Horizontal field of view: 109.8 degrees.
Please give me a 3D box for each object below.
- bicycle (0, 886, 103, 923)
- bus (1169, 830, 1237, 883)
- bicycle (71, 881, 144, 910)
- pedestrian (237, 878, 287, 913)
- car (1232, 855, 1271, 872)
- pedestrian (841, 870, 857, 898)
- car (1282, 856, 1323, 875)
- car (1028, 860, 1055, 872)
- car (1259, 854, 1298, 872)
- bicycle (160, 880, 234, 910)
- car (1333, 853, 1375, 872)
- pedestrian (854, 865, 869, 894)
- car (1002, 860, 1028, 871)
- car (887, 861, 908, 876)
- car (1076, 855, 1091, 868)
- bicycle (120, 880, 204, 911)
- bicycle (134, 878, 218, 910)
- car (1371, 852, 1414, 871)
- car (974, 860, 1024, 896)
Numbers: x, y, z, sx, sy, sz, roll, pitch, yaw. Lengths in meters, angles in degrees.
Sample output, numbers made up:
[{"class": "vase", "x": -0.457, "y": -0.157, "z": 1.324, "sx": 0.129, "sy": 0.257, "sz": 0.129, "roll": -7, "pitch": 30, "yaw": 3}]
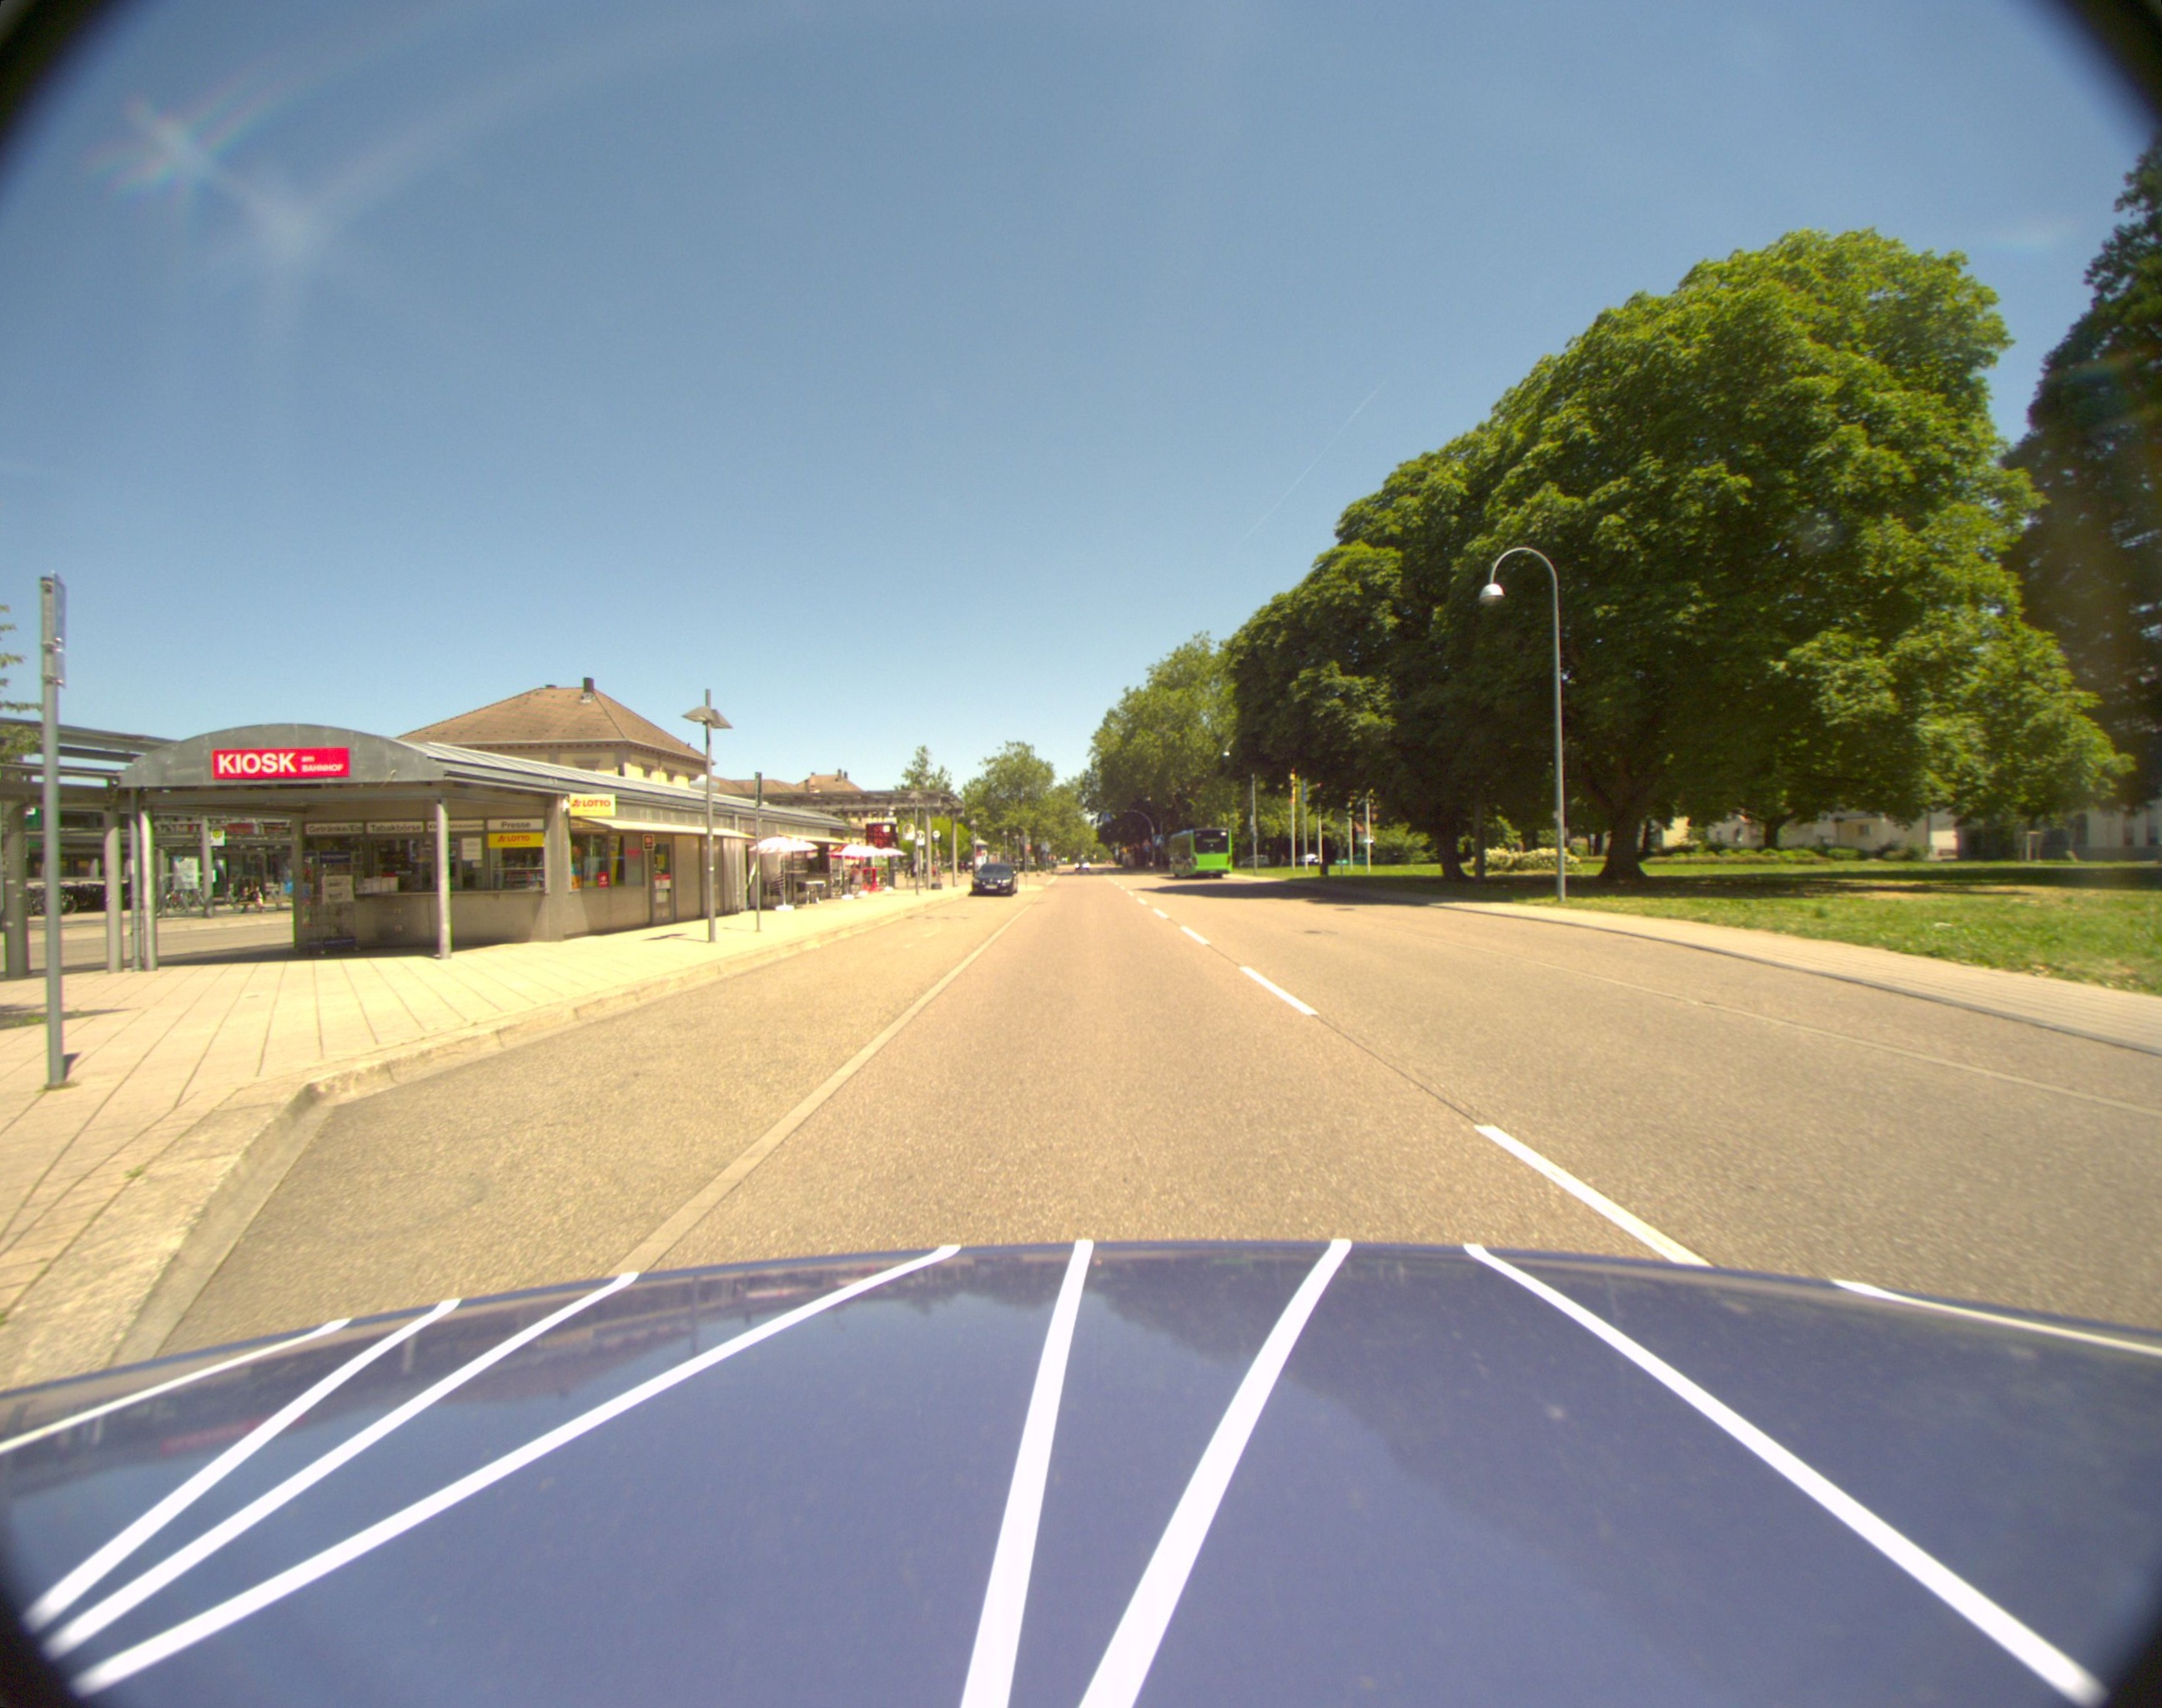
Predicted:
[{"class": "bicycle", "x": -36.895, "y": 1.771, "z": 27.250, "sx": 0.670, "sy": 1.068, "sz": 2.169, "roll": 1, "pitch": 3, "yaw": 4}, {"class": "bus", "x": 8.330, "y": 0.184, "z": 53.487, "sx": 2.814, "sy": 3.283, "sz": 11.857, "roll": -1, "pitch": 0, "yaw": 0}, {"class": "bicycle", "x": -39.045, "y": 1.662, "z": 30.475, "sx": 2.167, "sy": 1.068, "sz": 0.670, "roll": 1, "pitch": 3, "yaw": 4}, {"class": "pedestrian", "x": -31.049, "y": 1.569, "z": 28.828, "sx": 0.962, "sy": 1.297, "sz": 0.831, "roll": -1, "pitch": 0, "yaw": 1}, {"class": "car", "x": 19.212, "y": 1.056, "z": 85.832, "sx": 3.996, "sy": 1.793, "sz": 2.000, "roll": -1, "pitch": 0, "yaw": 3}, {"class": "pedestrian", "x": -10.050, "y": 1.296, "z": 32.948, "sx": 0.489, "sy": 1.204, "sz": 0.472, "roll": -1, "pitch": 0, "yaw": 7}, {"class": "car", "x": 24.791, "y": 1.266, "z": 85.244, "sx": 3.996, "sy": 2.002, "sz": 2.000, "roll": -1, "pitch": 0, "yaw": 3}, {"class": "car", "x": -5.992, "y": 1.763, "z": 115.116, "sx": 3.999, "sy": 1.655, "sz": 1.999, "roll": -1, "pitch": 0, "yaw": -6}, {"class": "car", "x": 23.471, "y": 1.065, "z": 90.174, "sx": 3.989, "sy": 2.002, "sz": 2.004, "roll": -1, "pitch": 0, "yaw": 36}, {"class": "bicycle", "x": -33.912, "y": 1.572, "z": 29.155, "sx": 2.167, "sy": 1.068, "sz": 0.670, "roll": 1, "pitch": 3, "yaw": 4}, {"class": "car", "x": 30.669, "y": 0.955, "z": 85.418, "sx": 3.997, "sy": 2.002, "sz": 2.000, "roll": -1, "pitch": 0, "yaw": 0}, {"class": "pedestrian", "x": -9.578, "y": 1.098, "z": 33.133, "sx": 0.504, "sy": 1.225, "sz": 0.513, "roll": -1, "pitch": 0, "yaw": -5}, {"class": "car", "x": -10.317, "y": 1.827, "z": 119.478, "sx": 3.999, "sy": 1.655, "sz": 1.999, "roll": -1, "pitch": 0, "yaw": -6}, {"class": "car", "x": -26.251, "y": 2.085, "z": 108.977, "sx": 1.998, "sy": 2.002, "sz": 4.000, "roll": -1, "pitch": 0, "yaw": 1}, {"class": "car", "x": 0.333, "y": 0.901, "z": 90.566, "sx": 1.778, "sy": 1.536, "sz": 4.183, "roll": 1, "pitch": 0, "yaw": 1}, {"class": "bicycle", "x": -37.423, "y": 1.669, "z": 30.987, "sx": 0.670, "sy": 1.068, "sz": 2.169, "roll": 1, "pitch": 3, "yaw": 4}, {"class": "bicycle", "x": -36.714, "y": 1.618, "z": 30.862, "sx": 0.670, "sy": 1.068, "sz": 2.169, "roll": 1, "pitch": 3, "yaw": 4}, {"class": "car", "x": 35.028, "y": 0.823, "z": 85.515, "sx": 3.997, "sy": 2.002, "sz": 2.000, "roll": -1, "pitch": 0, "yaw": 0}, {"class": "car", "x": -3.704, "y": 1.057, "z": 34.851, "sx": 1.778, "sy": 1.536, "sz": 4.183, "roll": 1, "pitch": 0, "yaw": 1}]
